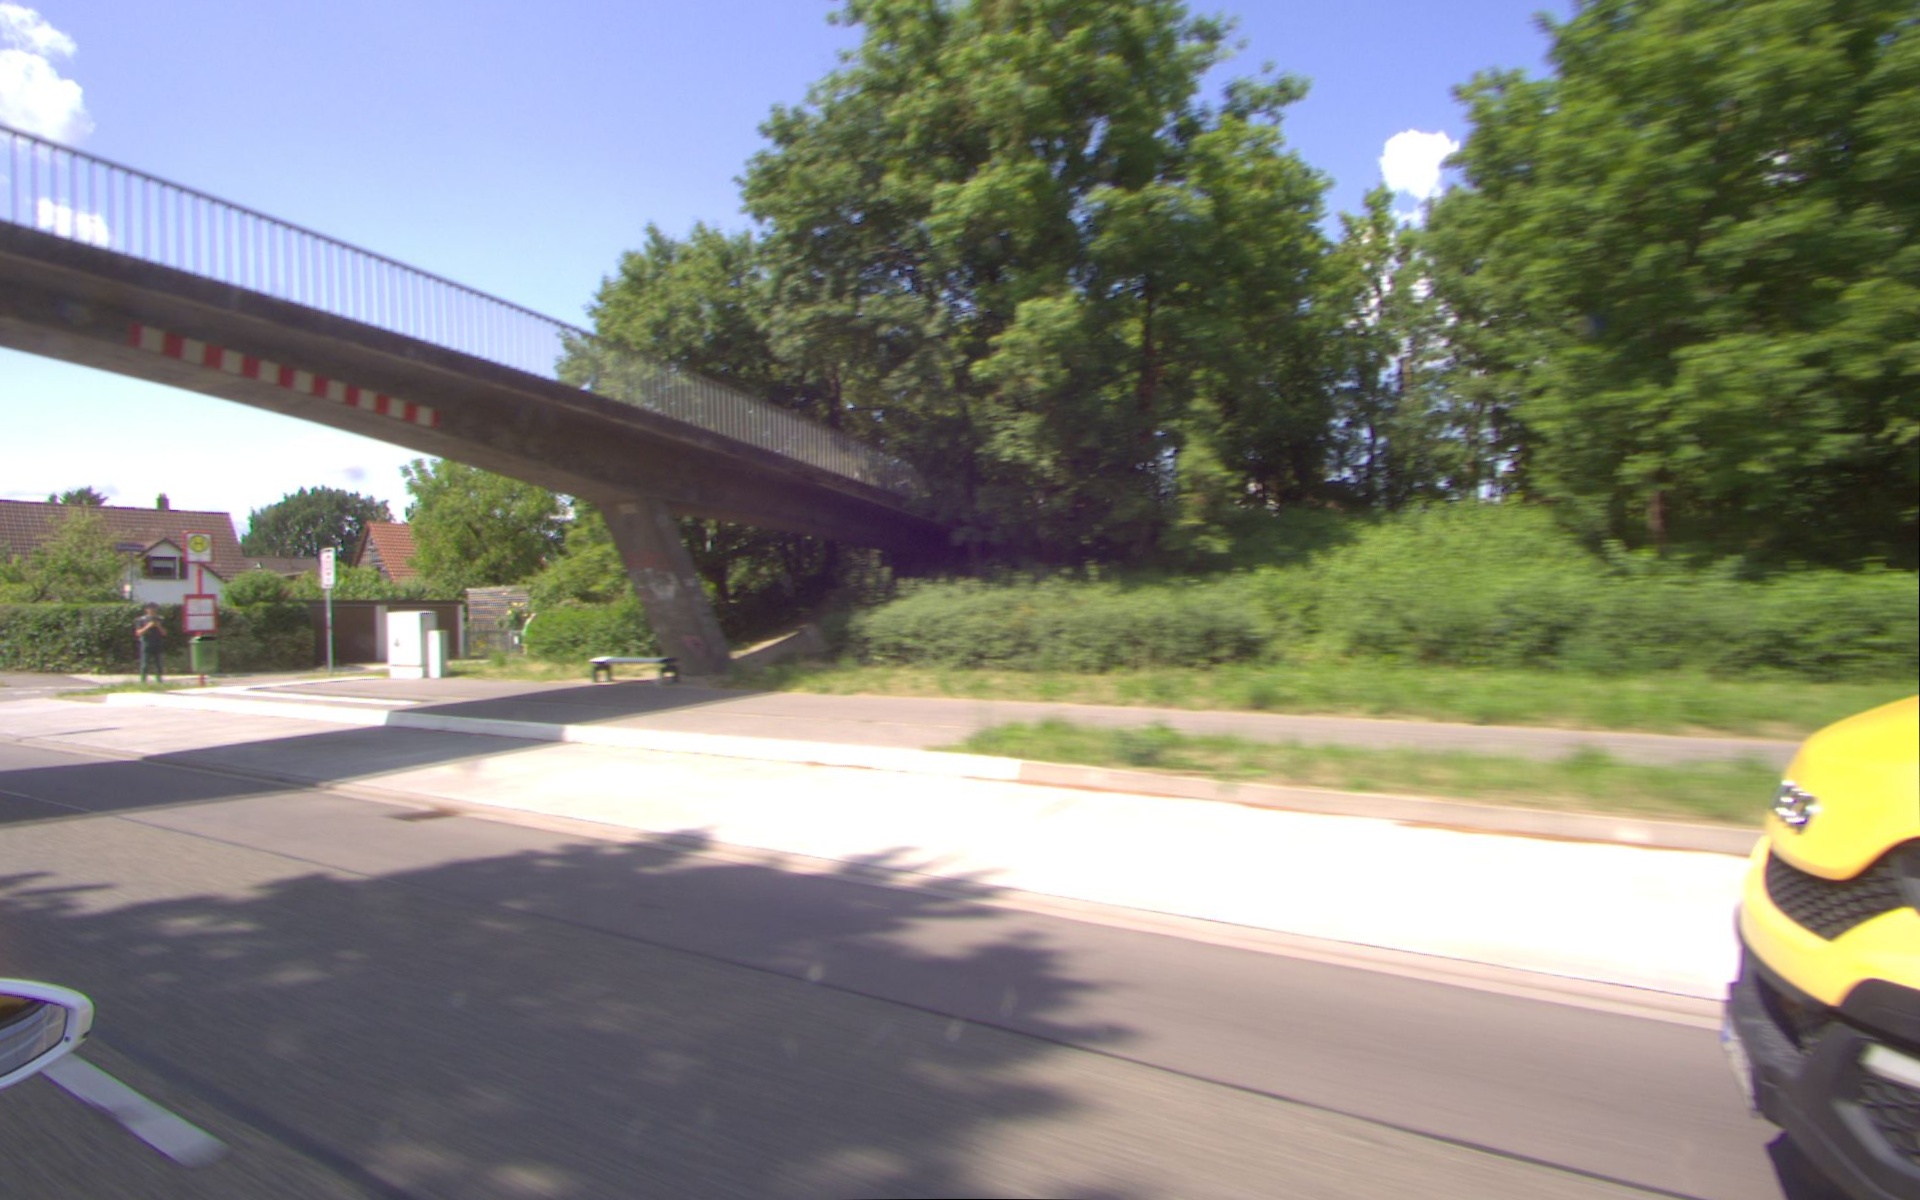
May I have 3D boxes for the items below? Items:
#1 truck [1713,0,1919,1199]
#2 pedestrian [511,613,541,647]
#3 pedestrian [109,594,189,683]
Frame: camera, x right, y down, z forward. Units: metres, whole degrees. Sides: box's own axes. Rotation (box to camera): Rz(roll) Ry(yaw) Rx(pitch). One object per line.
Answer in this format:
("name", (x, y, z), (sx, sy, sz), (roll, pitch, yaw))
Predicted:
("truck", (5.410, 0.058, 0.467), (7.914, 2.917, 2.260), (-1, -2, 33))
("pedestrian", (-16.791, 1.154, 38.734), (0.909, 1.317, 0.635), (0, 0, -6))
("pedestrian", (-17.734, 0.841, 21.903), (1.072, 1.848, 0.952), (-3, 0, 30))
